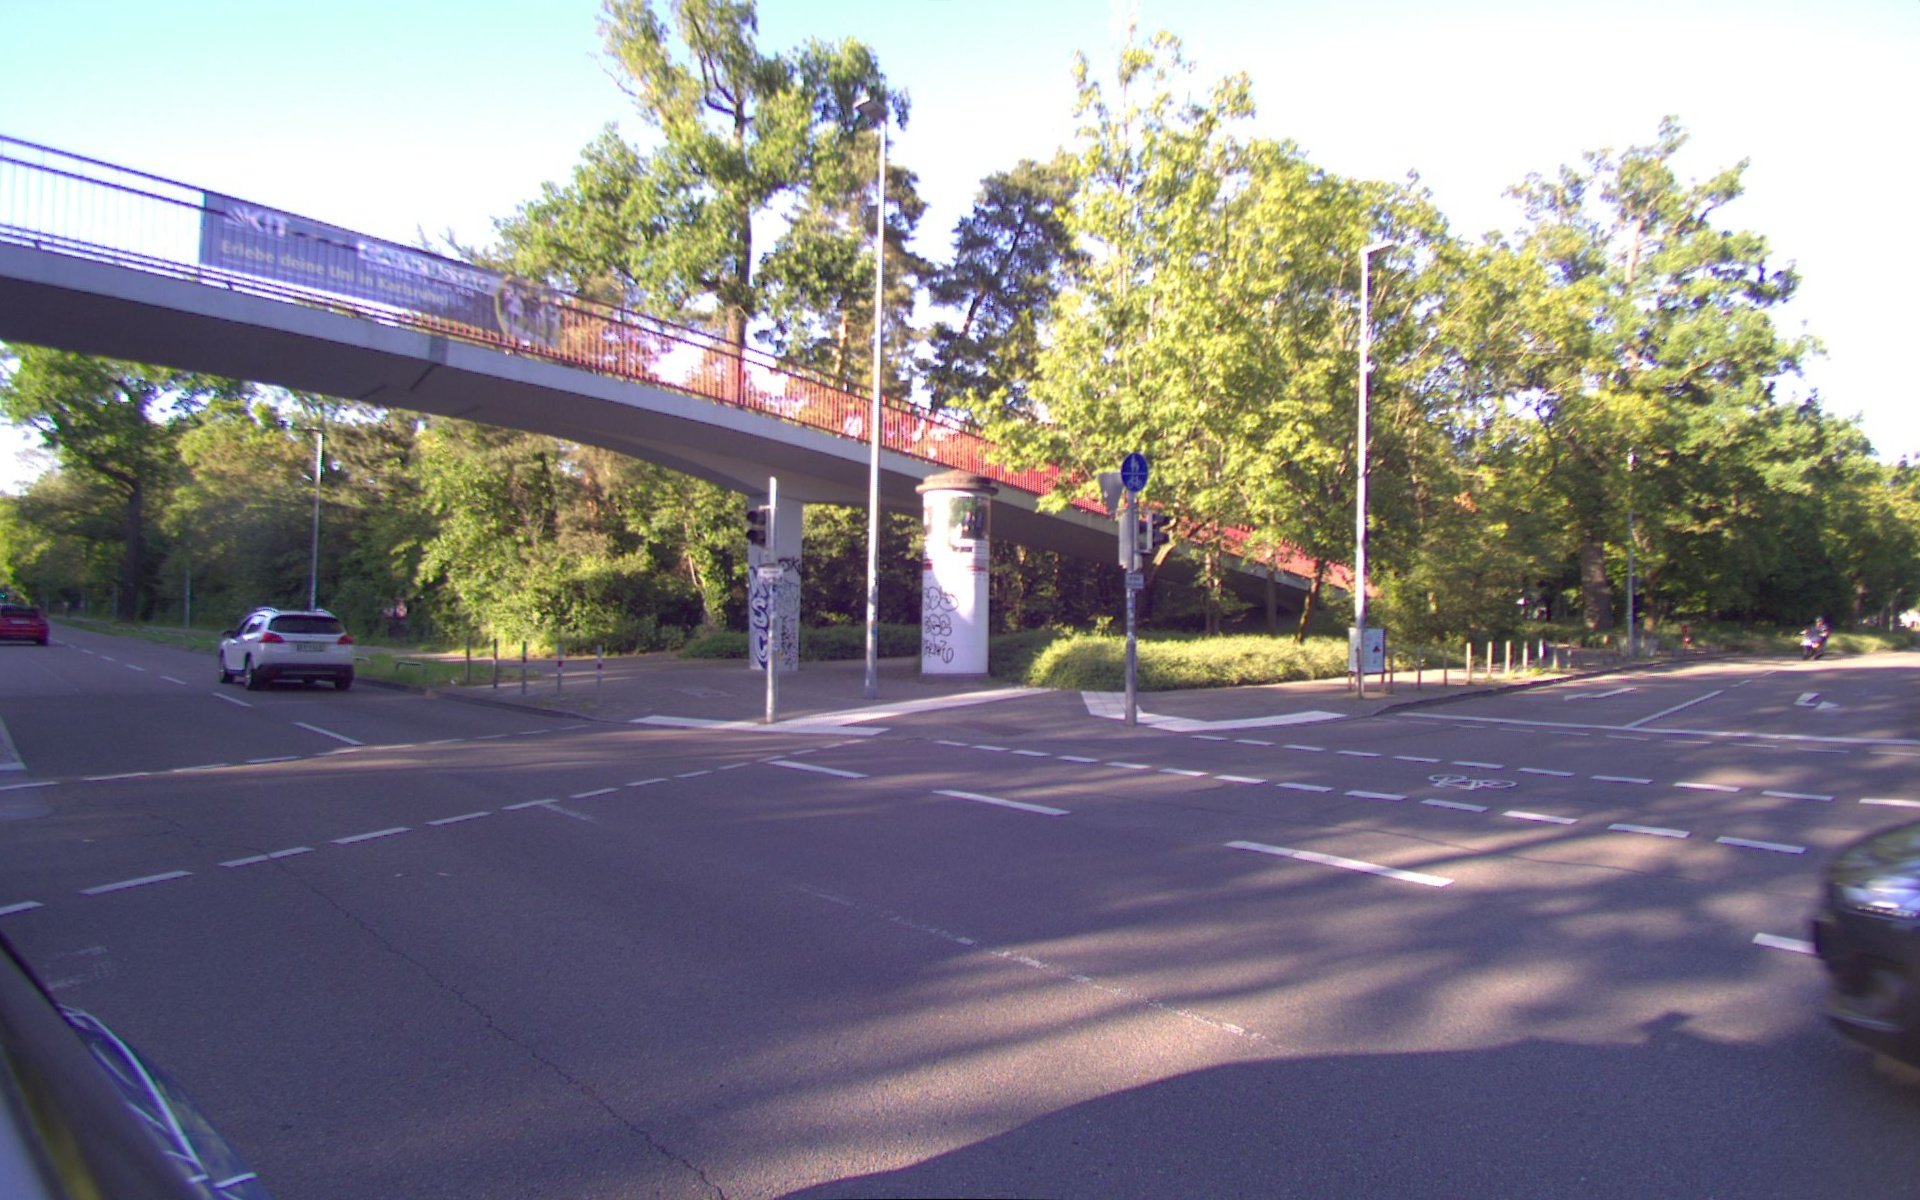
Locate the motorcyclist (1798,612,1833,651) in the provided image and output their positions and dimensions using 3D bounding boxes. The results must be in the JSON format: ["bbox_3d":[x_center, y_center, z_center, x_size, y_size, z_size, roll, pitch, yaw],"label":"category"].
[{"bbox_3d":[33.461,1.218,39.574,1.054,1.482,0.952,1,-1,-44],"label":"motorcyclist"}]

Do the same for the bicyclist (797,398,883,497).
[{"bbox_3d":[-3.057,-3.851,25.859,1.659,2.185,1.413,1,0,-45],"label":"bicyclist"}]

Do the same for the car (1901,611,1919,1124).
[{"bbox_3d":[4.628,0.805,2.285,3.641,1.464,1.688,0,-4,44],"label":"car"}]

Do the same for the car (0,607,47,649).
[{"bbox_3d":[-34.640,1.001,36.892,3.641,1.467,1.731,0,-3,44],"label":"car"}]

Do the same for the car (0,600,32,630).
[{"bbox_3d":[-50.119,0.765,52.979,4.649,1.517,1.939,0,-2,44],"label":"car"}]

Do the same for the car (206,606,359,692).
[{"bbox_3d":[-13.406,0.922,19.939,3.903,1.535,1.658,0,-3,44],"label":"car"}]

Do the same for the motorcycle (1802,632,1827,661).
[{"bbox_3d":[33.515,1.814,39.695,2.254,1.077,0.525,1,-1,-44],"label":"motorcycle"}]
